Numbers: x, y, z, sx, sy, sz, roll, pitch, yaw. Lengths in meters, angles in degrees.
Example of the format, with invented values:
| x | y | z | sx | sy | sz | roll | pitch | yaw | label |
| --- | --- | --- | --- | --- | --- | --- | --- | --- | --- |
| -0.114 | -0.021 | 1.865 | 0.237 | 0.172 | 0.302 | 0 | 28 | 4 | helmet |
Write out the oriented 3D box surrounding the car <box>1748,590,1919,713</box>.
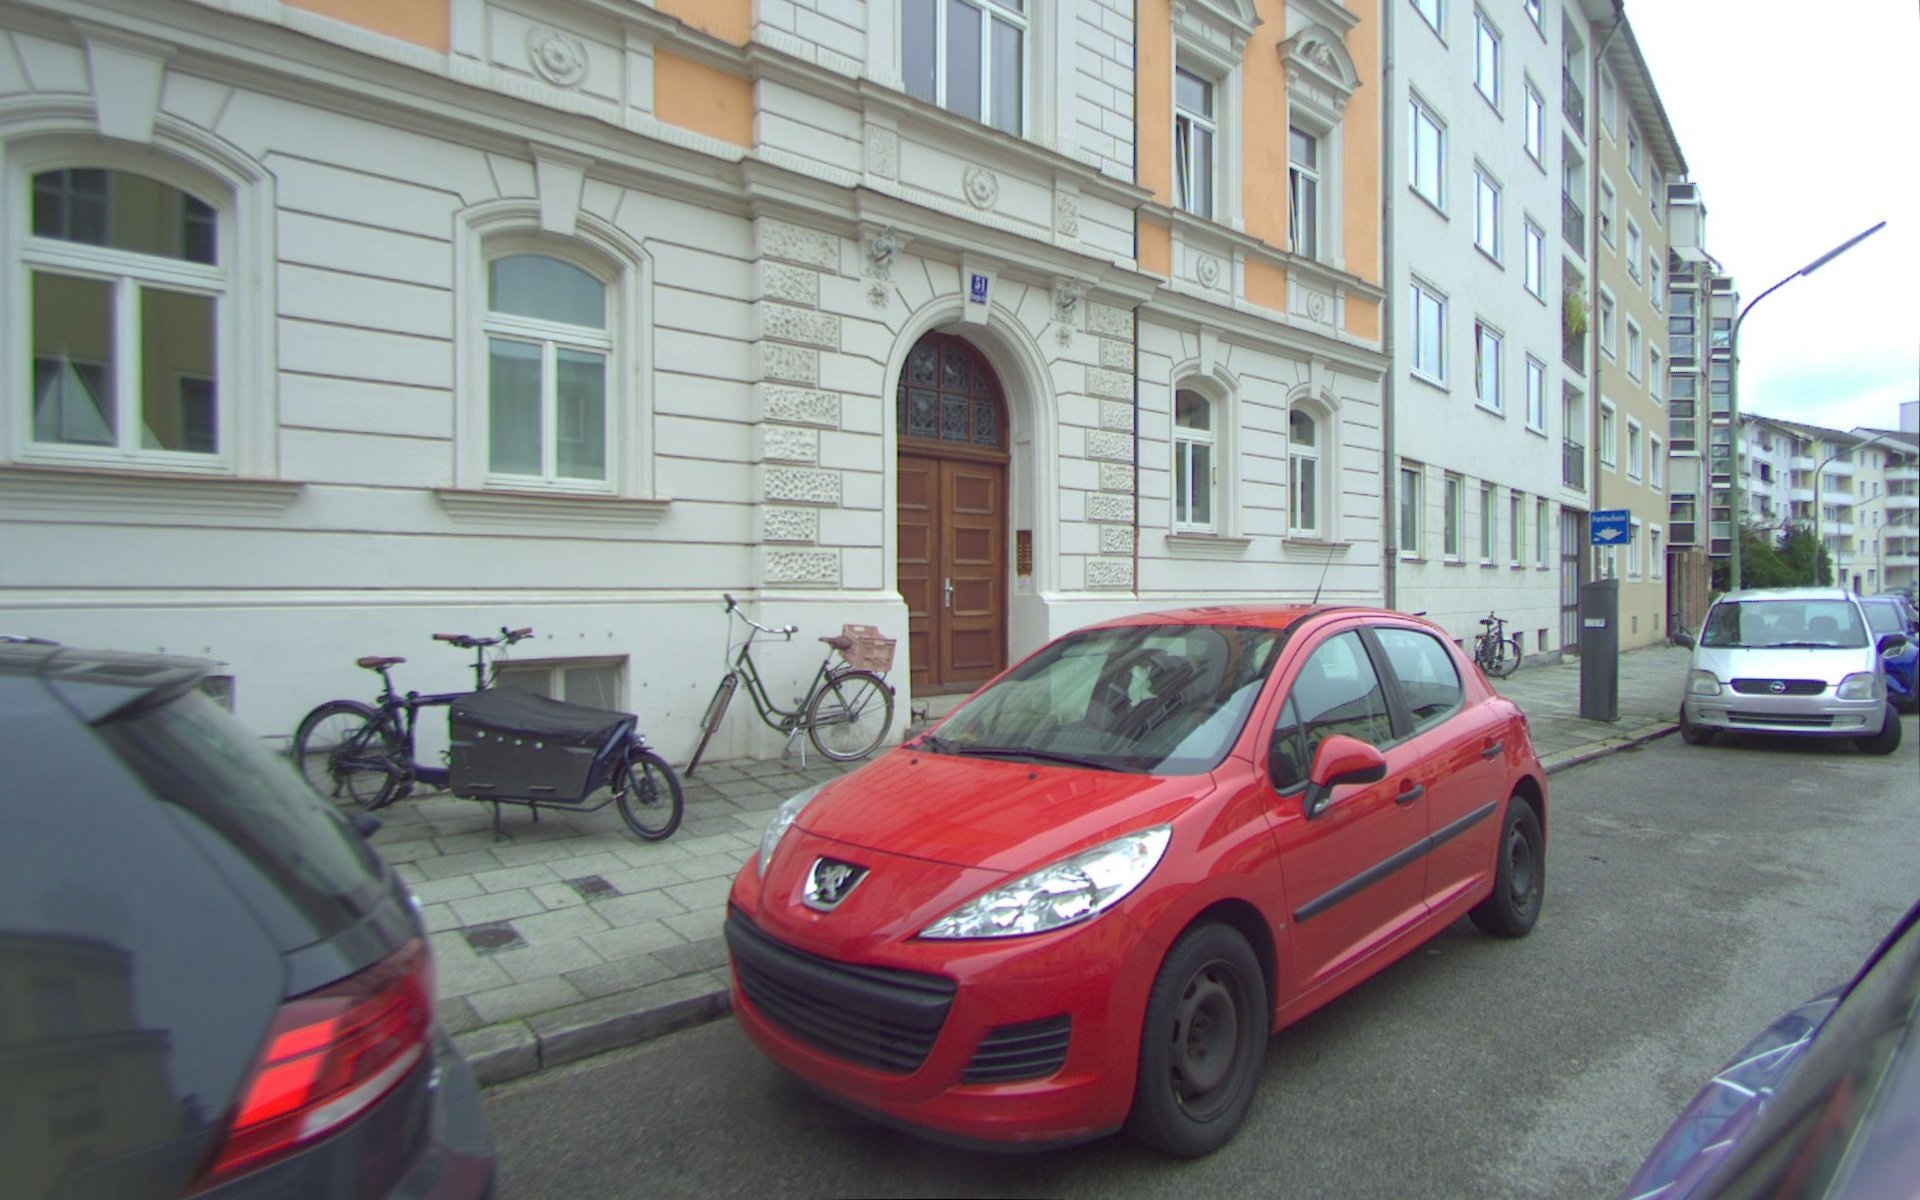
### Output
| x | y | z | sx | sy | sz | roll | pitch | yaw | label |
| --- | --- | --- | --- | --- | --- | --- | --- | --- | --- |
| 12.917 | 0.611 | 14.466 | 4.468 | 1.513 | 1.745 | 0 | 0 | -40 | car |

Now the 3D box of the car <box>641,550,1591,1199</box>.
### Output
| x | y | z | sx | sy | sz | roll | pitch | yaw | label |
| --- | --- | --- | --- | --- | --- | --- | --- | --- | --- |
| 0.995 | 0.665 | 4.146 | 4.077 | 1.519 | 1.688 | 0 | -1 | -43 | car |

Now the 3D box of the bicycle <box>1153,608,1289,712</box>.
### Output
| x | y | z | sx | sy | sz | roll | pitch | yaw | label |
| --- | --- | --- | --- | --- | --- | --- | --- | --- | --- |
| 2.920 | 0.622 | 11.201 | 1.787 | 1.037 | 0.596 | 0 | 1 | -44 | bicycle |

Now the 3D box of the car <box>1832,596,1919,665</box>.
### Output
| x | y | z | sx | sy | sz | roll | pitch | yaw | label |
| --- | --- | --- | --- | --- | --- | --- | --- | --- | --- |
| 22.270 | 0.654 | 24.208 | 1.954 | 1.432 | 5.034 | 0 | 1 | 43 | car |

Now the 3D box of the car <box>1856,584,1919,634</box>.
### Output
| x | y | z | sx | sy | sz | roll | pitch | yaw | label |
| --- | --- | --- | --- | --- | --- | --- | --- | --- | --- |
| 33.136 | 0.289 | 35.797 | 1.874 | 1.666 | 4.579 | 0 | 1 | 38 | car |

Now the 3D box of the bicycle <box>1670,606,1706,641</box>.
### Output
| x | y | z | sx | sy | sz | roll | pitch | yaw | label |
| --- | --- | --- | --- | --- | --- | --- | --- | --- | --- |
| 22.713 | 0.716 | 31.578 | 0.676 | 1.046 | 1.725 | 1 | 1 | 44 | bicycle |

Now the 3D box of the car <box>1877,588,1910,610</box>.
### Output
| x | y | z | sx | sy | sz | roll | pitch | yaw | label |
| --- | --- | --- | --- | --- | --- | --- | --- | --- | --- |
| 68.238 | -0.088 | 74.021 | 1.749 | 1.511 | 3.939 | 0 | 1 | 43 | car |

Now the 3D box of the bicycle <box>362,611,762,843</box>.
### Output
| x | y | z | sx | sy | sz | roll | pitch | yaw | label |
| --- | --- | --- | --- | --- | --- | --- | --- | --- | --- |
| -2.201 | 0.666 | 5.675 | 2.056 | 1.153 | 0.583 | 1 | 1 | 7 | bicycle |

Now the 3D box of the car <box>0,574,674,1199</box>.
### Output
| x | y | z | sx | sy | sz | roll | pitch | yaw | label |
| --- | --- | --- | --- | --- | --- | --- | --- | --- | --- |
| -2.577 | 0.704 | 0.694 | 4.285 | 1.419 | 1.691 | -1 | 0 | -39 | car |

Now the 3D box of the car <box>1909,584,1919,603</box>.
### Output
| x | y | z | sx | sy | sz | roll | pitch | yaw | label |
| --- | --- | --- | --- | --- | --- | --- | --- | --- | --- |
| 81.726 | -0.557 | 85.367 | 3.929 | 1.660 | 1.998 | -1 | 1 | -40 | car |

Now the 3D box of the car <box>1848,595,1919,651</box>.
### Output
| x | y | z | sx | sy | sz | roll | pitch | yaw | label |
| --- | --- | --- | --- | --- | --- | --- | --- | --- | --- |
| 25.918 | 0.573 | 28.077 | 1.853 | 1.432 | 4.938 | 0 | 0 | 42 | car |

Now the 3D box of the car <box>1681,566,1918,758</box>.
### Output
| x | y | z | sx | sy | sz | roll | pitch | yaw | label |
| --- | --- | --- | --- | --- | --- | --- | --- | --- | --- |
| 9.094 | 0.549 | 10.936 | 1.680 | 1.695 | 3.746 | -2 | -1 | 42 | car |

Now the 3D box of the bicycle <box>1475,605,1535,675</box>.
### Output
| x | y | z | sx | sy | sz | roll | pitch | yaw | label |
| --- | --- | --- | --- | --- | --- | --- | --- | --- | --- |
| 9.199 | 0.643 | 17.044 | 0.528 | 1.085 | 1.972 | 0 | 0 | 39 | bicycle |

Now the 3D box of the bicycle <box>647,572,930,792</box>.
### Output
| x | y | z | sx | sy | sz | roll | pitch | yaw | label |
| --- | --- | --- | --- | --- | --- | --- | --- | --- | --- |
| -1.188 | 0.514 | 7.405 | 2.057 | 1.402 | 0.596 | 0 | 1 | -44 | bicycle |

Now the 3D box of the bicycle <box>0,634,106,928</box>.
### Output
| x | y | z | sx | sy | sz | roll | pitch | yaw | label |
| --- | --- | --- | --- | --- | --- | --- | --- | --- | --- |
| -4.497 | 0.683 | 4.102 | 1.817 | 1.081 | 0.514 | 1 | 1 | 9 | bicycle |

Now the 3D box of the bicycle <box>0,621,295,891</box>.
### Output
| x | y | z | sx | sy | sz | roll | pitch | yaw | label |
| --- | --- | --- | --- | --- | --- | --- | --- | --- | --- |
| -4.091 | 0.660 | 4.532 | 1.778 | 1.103 | 0.623 | 1 | 1 | -5 | bicycle |

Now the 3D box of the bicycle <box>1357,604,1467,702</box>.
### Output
| x | y | z | sx | sy | sz | roll | pitch | yaw | label |
| --- | --- | --- | --- | --- | --- | --- | --- | --- | --- |
| 5.763 | 0.622 | 12.844 | 0.722 | 1.126 | 1.965 | 0 | 0 | 42 | bicycle |

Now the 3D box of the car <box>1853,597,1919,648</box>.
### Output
| x | y | z | sx | sy | sz | roll | pitch | yaw | label |
| --- | --- | --- | --- | --- | --- | --- | --- | --- | --- |
| 29.553 | 0.661 | 31.990 | 1.754 | 1.383 | 4.712 | -5 | -3 | 40 | car |

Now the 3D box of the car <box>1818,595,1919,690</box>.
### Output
| x | y | z | sx | sy | sz | roll | pitch | yaw | label |
| --- | --- | --- | --- | --- | --- | --- | --- | --- | --- |
| 16.314 | 0.680 | 17.738 | 1.704 | 1.473 | 4.334 | -3 | -2 | 43 | car |
